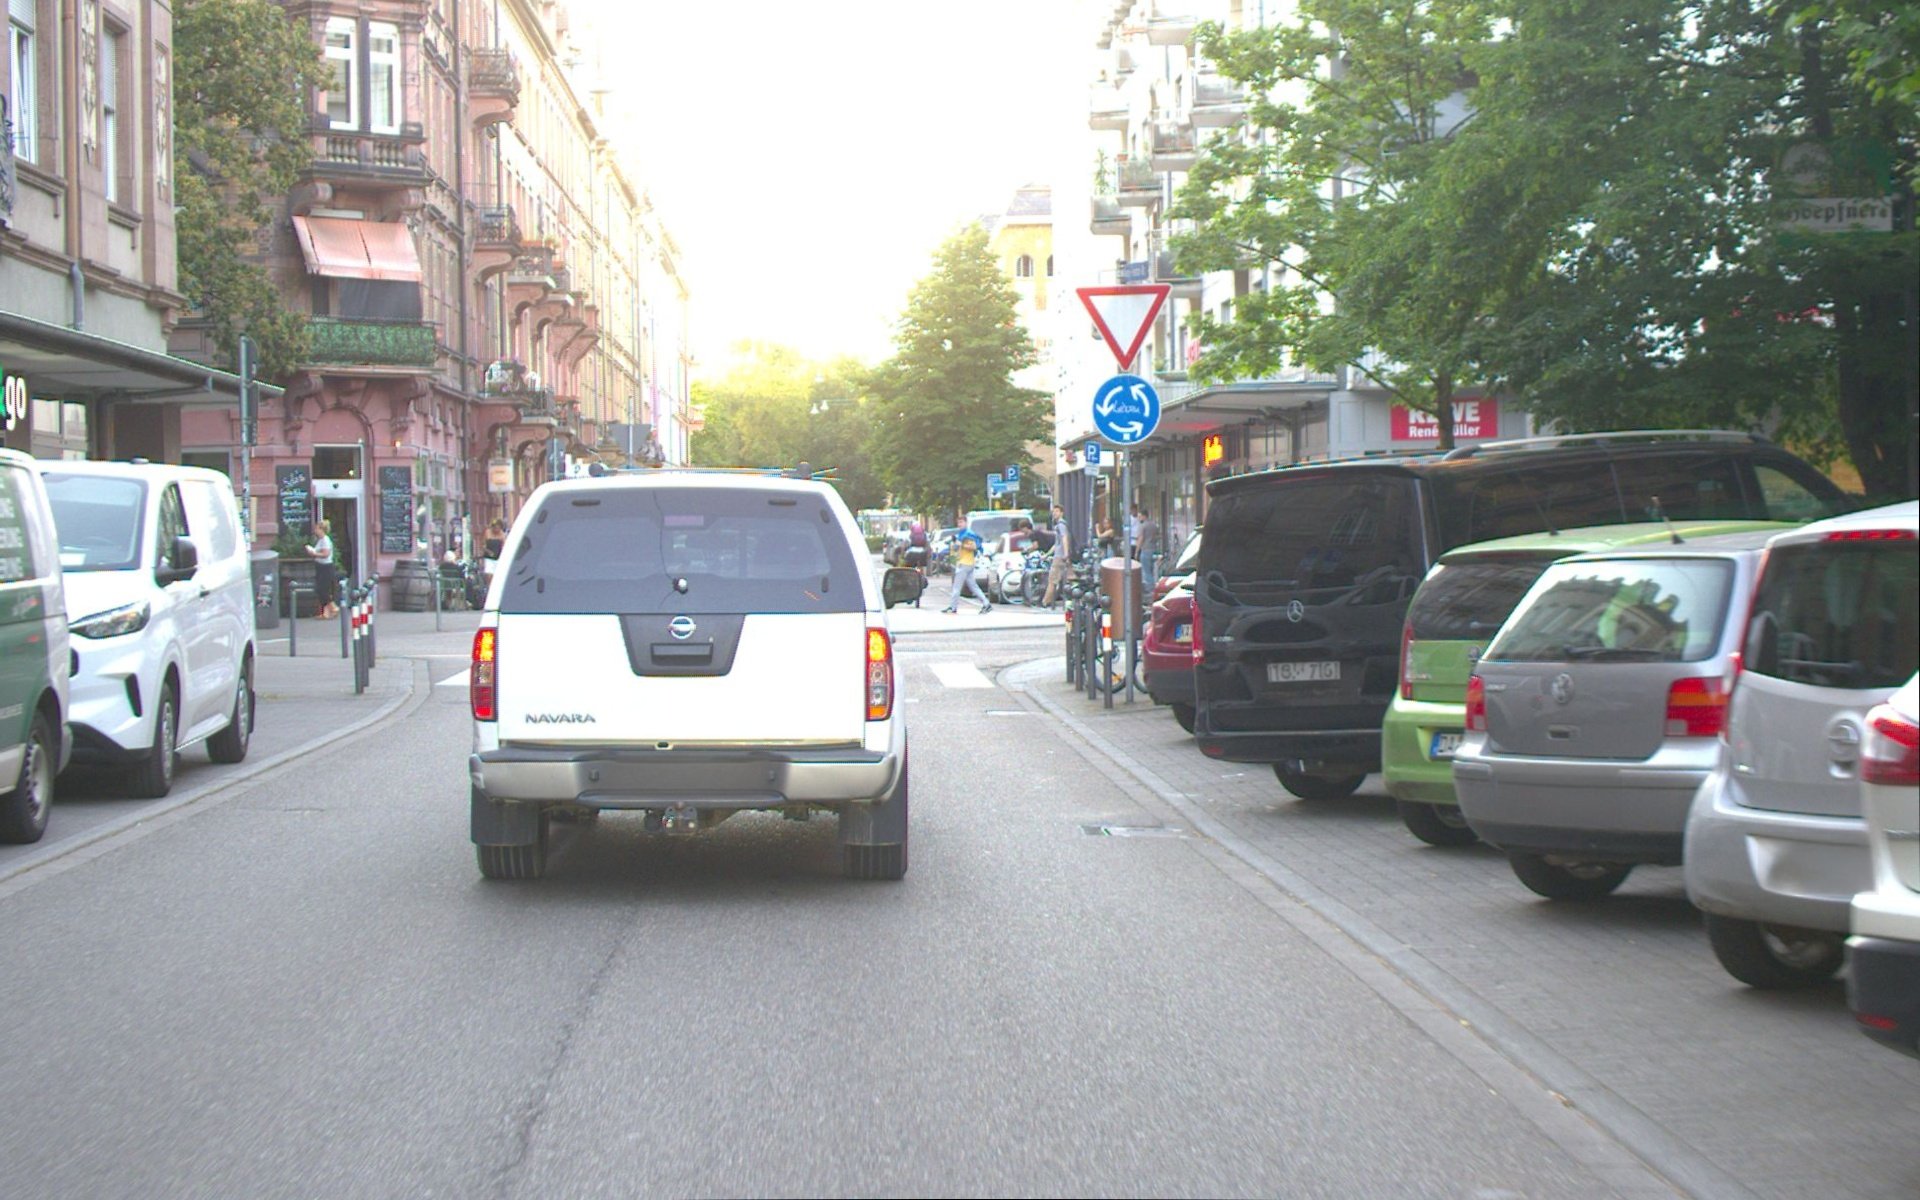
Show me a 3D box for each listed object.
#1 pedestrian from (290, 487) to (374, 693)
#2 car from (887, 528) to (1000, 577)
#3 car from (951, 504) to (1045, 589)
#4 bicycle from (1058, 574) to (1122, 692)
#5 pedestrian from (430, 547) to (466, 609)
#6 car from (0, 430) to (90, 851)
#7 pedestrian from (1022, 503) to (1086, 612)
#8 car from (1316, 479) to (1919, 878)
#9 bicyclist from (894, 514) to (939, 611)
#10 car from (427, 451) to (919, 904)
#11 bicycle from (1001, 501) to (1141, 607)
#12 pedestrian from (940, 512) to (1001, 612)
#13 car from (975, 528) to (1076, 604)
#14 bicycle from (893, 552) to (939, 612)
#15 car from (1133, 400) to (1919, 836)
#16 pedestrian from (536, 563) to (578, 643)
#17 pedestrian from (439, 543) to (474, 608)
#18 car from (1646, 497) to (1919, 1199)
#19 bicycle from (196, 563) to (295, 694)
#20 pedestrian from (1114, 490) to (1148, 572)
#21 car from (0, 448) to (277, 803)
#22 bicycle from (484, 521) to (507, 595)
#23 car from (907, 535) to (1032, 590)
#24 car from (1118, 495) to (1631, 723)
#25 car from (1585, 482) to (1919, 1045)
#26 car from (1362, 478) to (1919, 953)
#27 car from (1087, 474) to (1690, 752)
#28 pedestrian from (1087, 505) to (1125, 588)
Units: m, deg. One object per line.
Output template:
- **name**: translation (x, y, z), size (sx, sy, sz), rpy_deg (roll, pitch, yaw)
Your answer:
- **pedestrian**: translation (-5.667, -0.093, 31.049), size (0.536, 1.817, 0.997), rpy_deg (1, 0, 1)
- **car**: translation (-0.603, -1.714, 124.709), size (3.986, 1.744, 1.841), rpy_deg (1, 0, -3)
- **car**: translation (0.876, -1.253, 81.452), size (1.942, 1.927, 4.000), rpy_deg (1, 0, -3)
- **bicycle**: translation (1.188, 0.290, 31.694), size (0.364, 1.060, 1.552), rpy_deg (1, 0, -6)
- **pedestrian**: translation (-9.898, -0.424, 66.482), size (0.648, 1.187, 0.540), rpy_deg (1, 0, -6)
- **car**: translation (-5.276, 0.203, 14.979), size (1.837, 1.915, 4.846), rpy_deg (0, 1, -1)
- **pedestrian**: translation (1.646, -0.743, 60.136), size (0.903, 1.878, 0.616), rpy_deg (0, 0, -33)
- **car**: translation (3.907, 0.268, 16.436), size (4.096, 1.546, 1.818), rpy_deg (-5, 2, -33)
- **bicyclist**: translation (-0.871, -0.749, 68.966), size (0.838, 1.937, 0.785), rpy_deg (1, 0, 2)
- **car**: translation (-1.185, 0.291, 16.330), size (1.938, 1.804, 5.001), rpy_deg (1, 0, 0)
- **bicycle**: translation (2.124, -0.881, 66.043), size (2.647, 2.007, 0.638), rpy_deg (1, 0, -1)
- **pedestrian**: translation (0.183, -0.664, 59.705), size (0.904, 1.730, 0.615), rpy_deg (1, 0, 17)
- **car**: translation (1.363, -0.712, 72.688), size (1.834, 1.536, 4.000), rpy_deg (1, 0, -3)
- **bicycle**: translation (-0.873, -0.365, 69.070), size (0.838, 1.167, 1.936), rpy_deg (1, 0, 1)
- **car**: translation (3.685, -0.013, 19.764), size (5.422, 2.065, 1.933), rpy_deg (-5, 3, -40)
- **pedestrian**: translation (-8.221, 0.065, 70.184), size (0.797, 1.615, 0.945), rpy_deg (1, 0, -4)
- **pedestrian**: translation (-9.917, -0.482, 67.668), size (0.648, 1.281, 0.540), rpy_deg (1, 0, -6)
- **car**: translation (3.806, 0.468, 8.154), size (4.096, 1.585, 1.818), rpy_deg (-5, 2, -33)
- **bicycle**: translation (-6.368, 0.241, 30.710), size (0.471, 1.138, 1.785), rpy_deg (1, 0, 1)
- **pedestrian**: translation (3.980, -1.599, 80.041), size (0.720, 1.900, 0.702), rpy_deg (1, 0, -2)
- **car**: translation (-5.600, 0.099, 21.082), size (2.109, 1.915, 5.027), rpy_deg (0, 1, -4)
- **bicycle**: translation (-9.224, -0.835, 68.300), size (0.424, 1.437, 1.905), rpy_deg (1, 0, -7)
- **car**: translation (0.283, -1.228, 112.792), size (3.986, 1.744, 1.841), rpy_deg (1, 0, -3)
- **car**: translation (3.455, 0.022, 28.371), size (4.036, 1.622, 1.693), rpy_deg (-4, 3, -34)
- **car**: translation (4.146, 0.357, 11.377), size (4.097, 1.585, 1.818), rpy_deg (-5, 3, -40)
- **car**: translation (3.809, 0.312, 13.752), size (4.096, 1.546, 1.818), rpy_deg (-5, 2, -33)
- **car**: translation (3.175, 0.045, 25.022), size (4.213, 1.682, 1.933), rpy_deg (-5, 3, -40)
- **pedestrian**: translation (2.965, -1.084, 69.903), size (0.720, 1.657, 0.702), rpy_deg (1, 0, -2)
